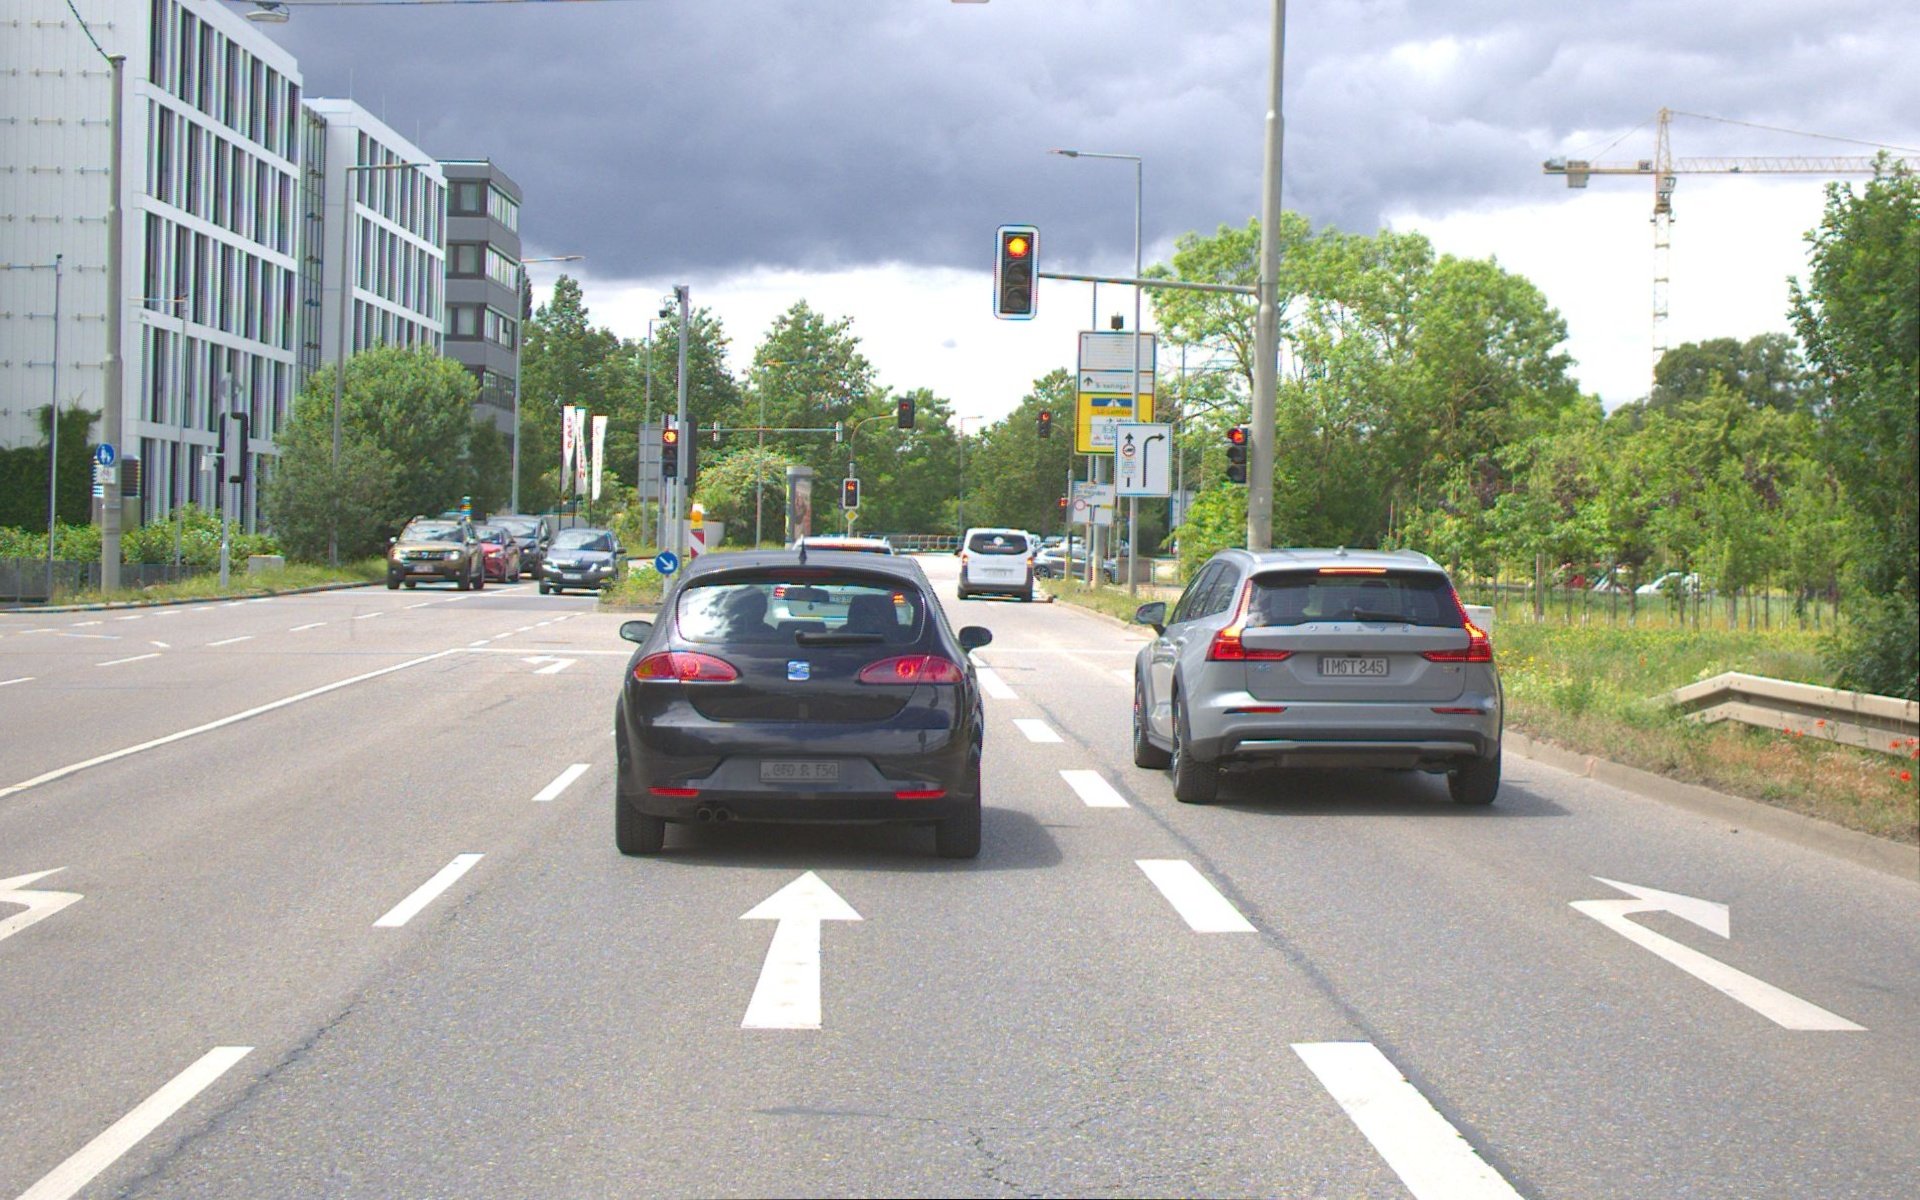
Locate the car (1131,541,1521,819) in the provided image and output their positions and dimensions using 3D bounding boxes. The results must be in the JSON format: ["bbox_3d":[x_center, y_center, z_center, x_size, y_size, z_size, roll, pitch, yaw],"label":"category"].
[{"bbox_3d":[2.121,0.421,21.071,1.958,1.520,4.340,0,1,0],"label":"car"}]

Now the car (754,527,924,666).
[{"bbox_3d":[-1.546,-0.085,43.342,1.983,1.584,4.227,2,1,-3],"label":"car"}]

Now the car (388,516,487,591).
[{"bbox_3d":[-11.718,-1.055,77.296,1.751,1.625,4.000,-1,1,-2],"label":"car"}]

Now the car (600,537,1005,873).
[{"bbox_3d":[-0.680,0.448,17.399,1.748,1.479,4.000,1,1,1],"label":"car"}]

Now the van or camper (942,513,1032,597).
[{"bbox_3d":[0.679,-1.143,88.811,1.899,1.919,4.000,1,-2,-5],"label":"van or camper"}]

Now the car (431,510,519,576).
[{"bbox_3d":[-12.320,-1.442,87.476,1.776,1.606,4.000,1,1,-2],"label":"car"}]

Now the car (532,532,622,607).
[{"bbox_3d":[-8.429,-0.693,75.919,1.668,1.519,4.009,-1,2,-2],"label":"car"}]
